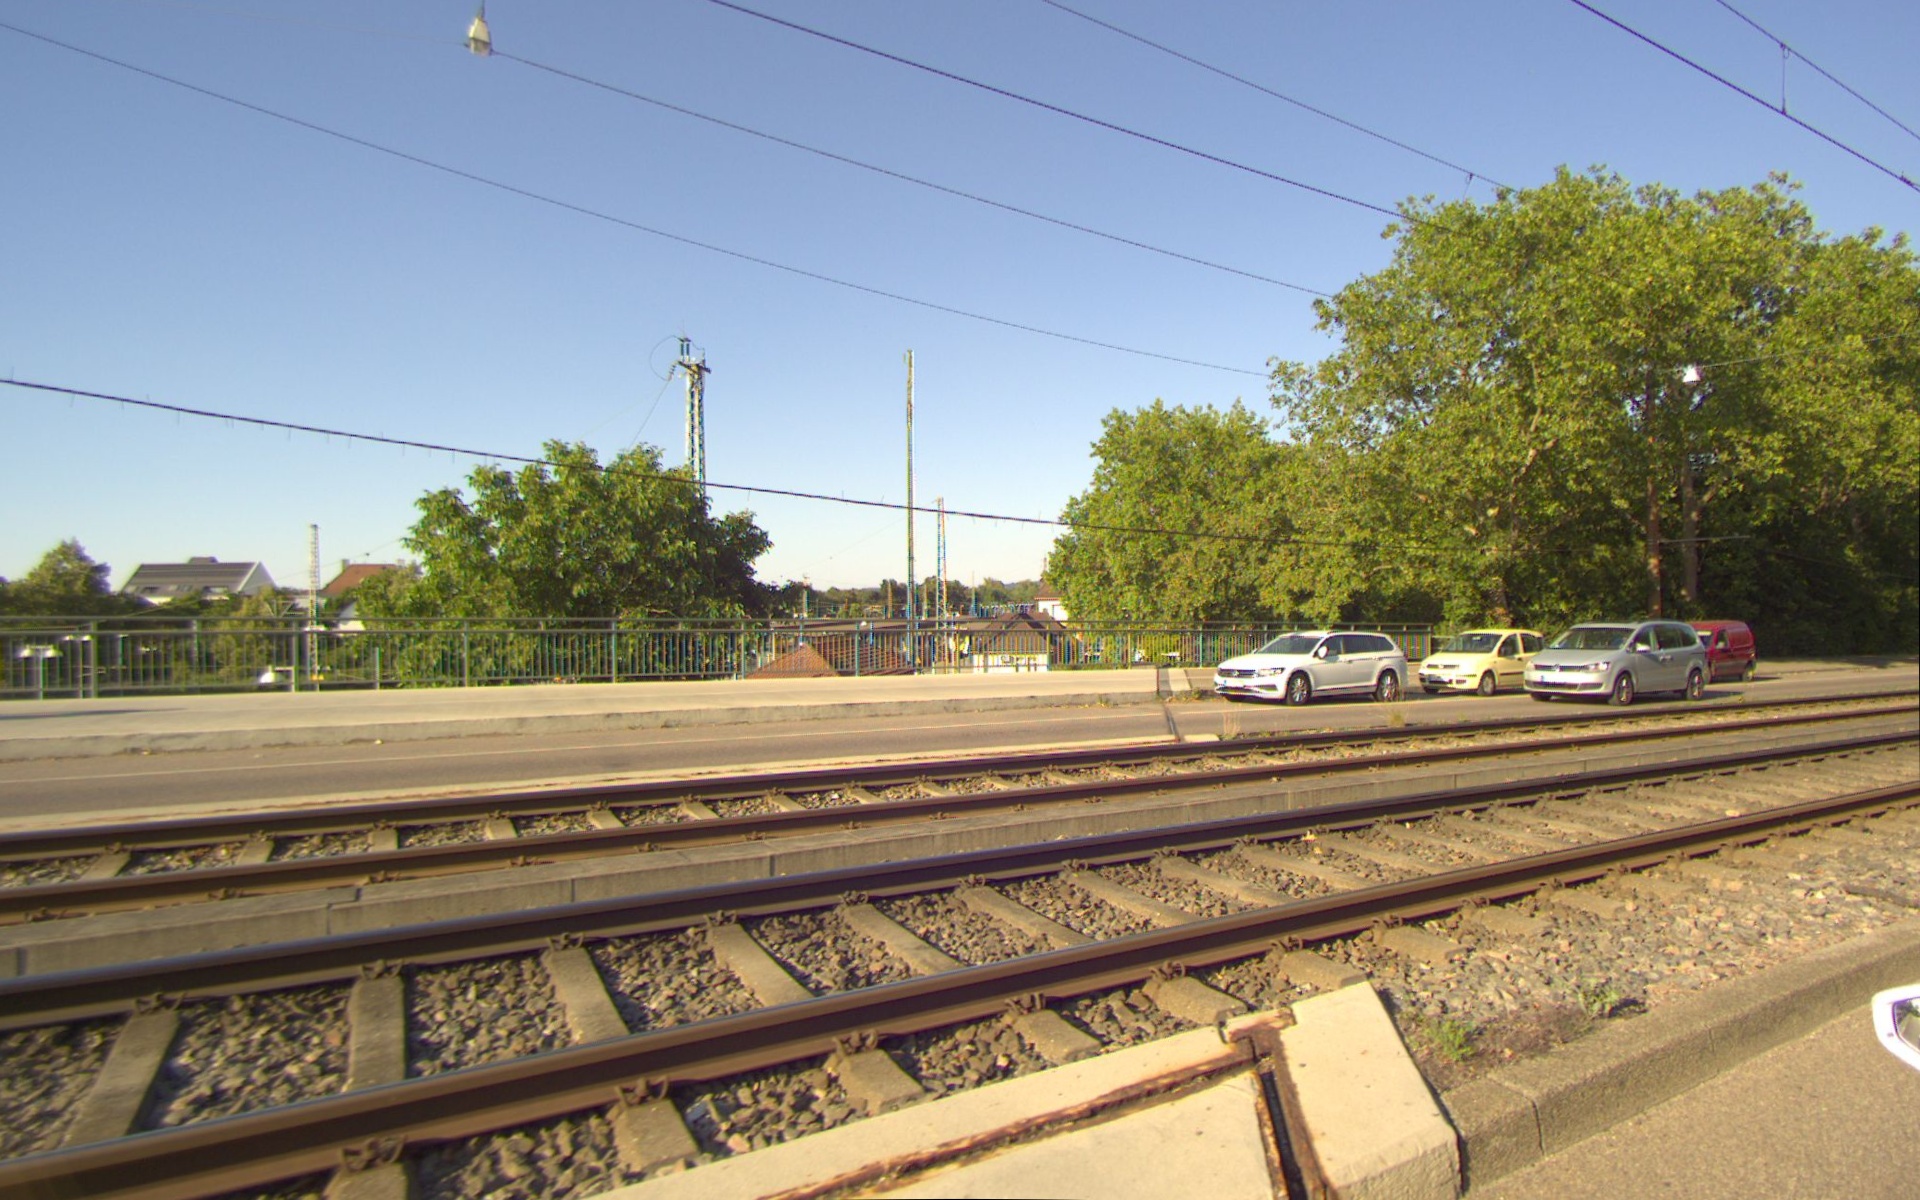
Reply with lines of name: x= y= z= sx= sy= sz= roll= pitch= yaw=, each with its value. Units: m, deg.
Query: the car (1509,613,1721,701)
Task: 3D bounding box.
car: x=13.954 y=1.182 z=21.356 sx=4.542 sy=1.687 sz=1.865 roll=0 pitch=-4 yaw=-30

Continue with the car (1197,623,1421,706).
car: x=7.319 y=1.258 z=20.888 sx=4.899 sy=1.483 sz=1.732 roll=0 pitch=0 yaw=-32

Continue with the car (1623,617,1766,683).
car: x=21.552 y=1.401 z=29.436 sx=4.630 sy=1.777 sz=1.733 roll=0 pitch=0 yaw=-31

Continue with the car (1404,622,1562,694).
car: x=12.467 y=1.320 z=23.902 sx=3.746 sy=1.551 sz=1.626 roll=0 pitch=0 yaw=-31
